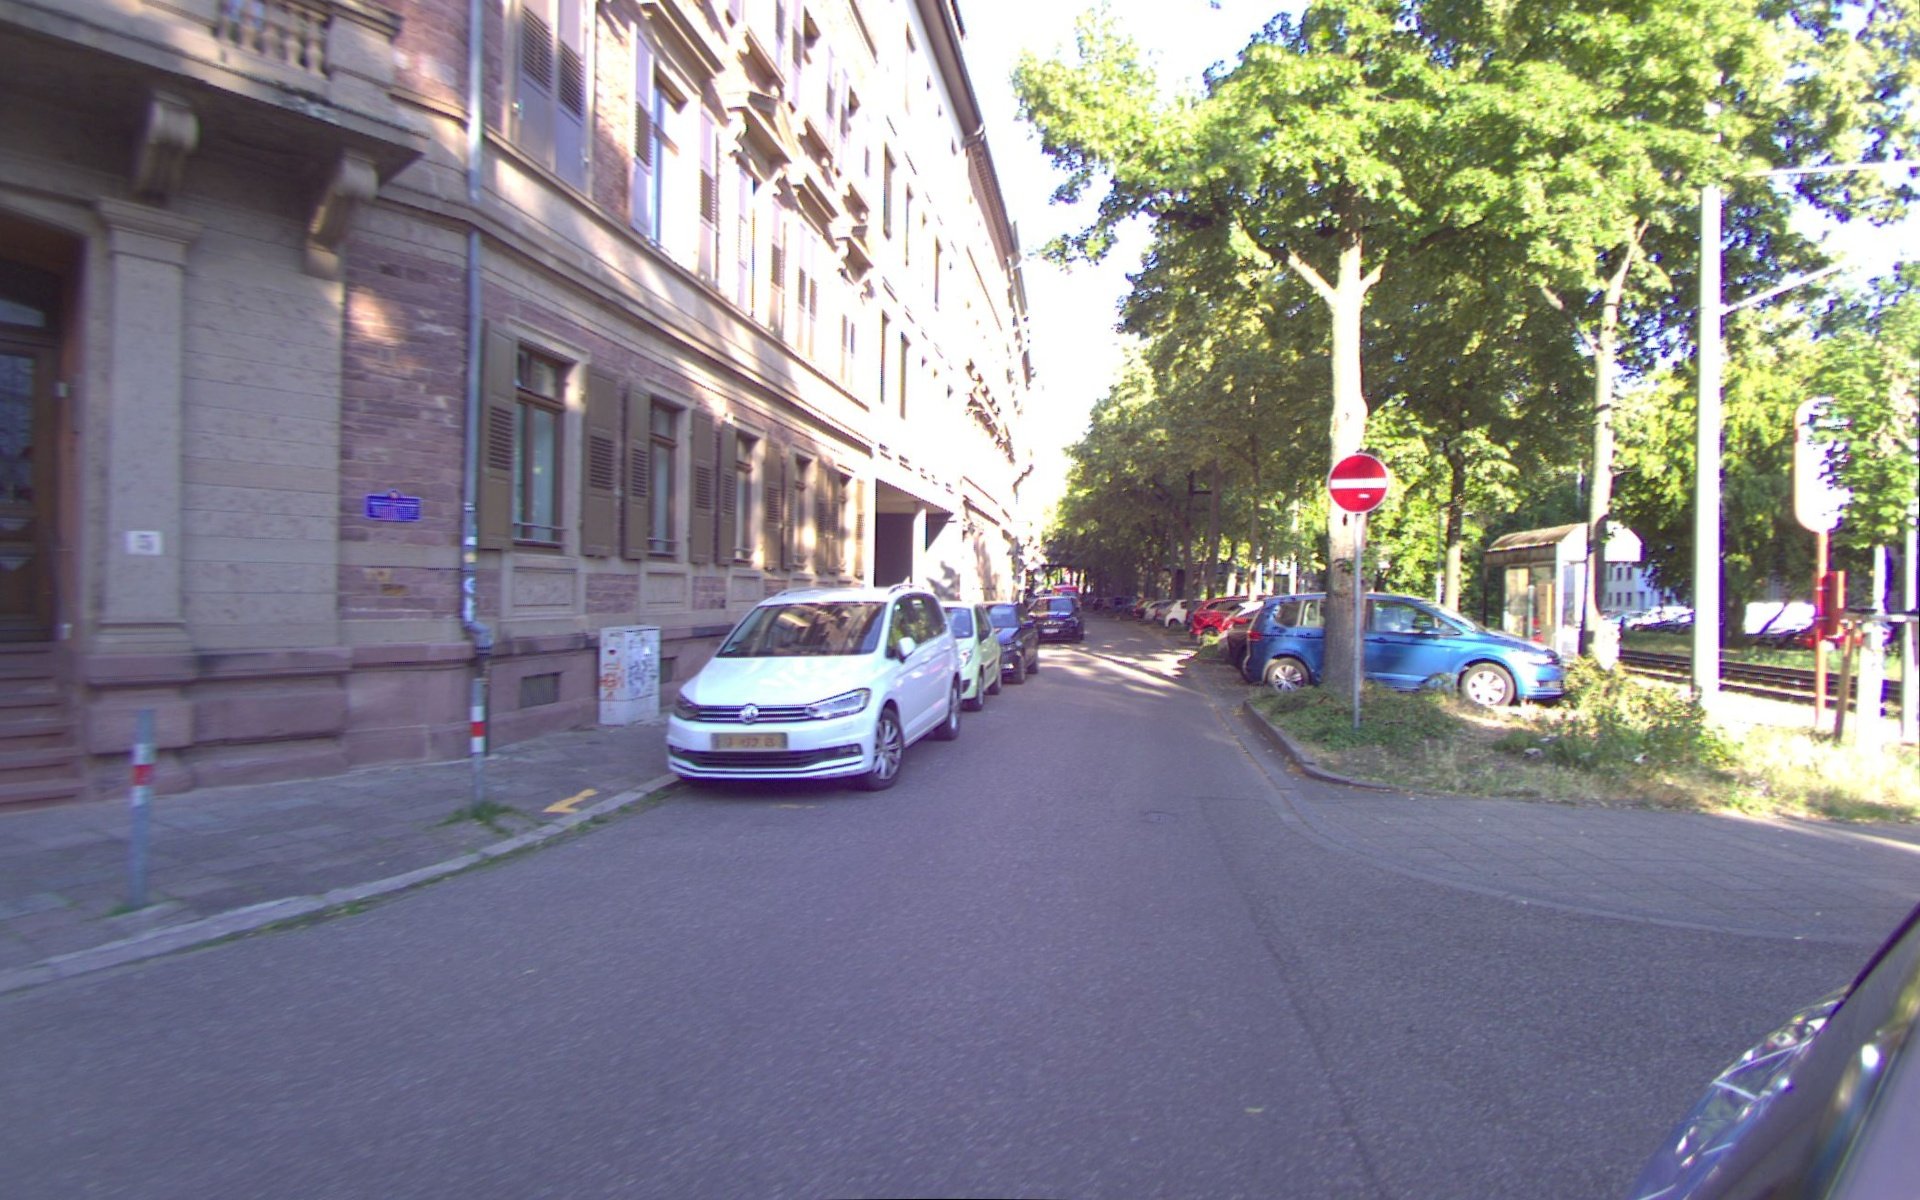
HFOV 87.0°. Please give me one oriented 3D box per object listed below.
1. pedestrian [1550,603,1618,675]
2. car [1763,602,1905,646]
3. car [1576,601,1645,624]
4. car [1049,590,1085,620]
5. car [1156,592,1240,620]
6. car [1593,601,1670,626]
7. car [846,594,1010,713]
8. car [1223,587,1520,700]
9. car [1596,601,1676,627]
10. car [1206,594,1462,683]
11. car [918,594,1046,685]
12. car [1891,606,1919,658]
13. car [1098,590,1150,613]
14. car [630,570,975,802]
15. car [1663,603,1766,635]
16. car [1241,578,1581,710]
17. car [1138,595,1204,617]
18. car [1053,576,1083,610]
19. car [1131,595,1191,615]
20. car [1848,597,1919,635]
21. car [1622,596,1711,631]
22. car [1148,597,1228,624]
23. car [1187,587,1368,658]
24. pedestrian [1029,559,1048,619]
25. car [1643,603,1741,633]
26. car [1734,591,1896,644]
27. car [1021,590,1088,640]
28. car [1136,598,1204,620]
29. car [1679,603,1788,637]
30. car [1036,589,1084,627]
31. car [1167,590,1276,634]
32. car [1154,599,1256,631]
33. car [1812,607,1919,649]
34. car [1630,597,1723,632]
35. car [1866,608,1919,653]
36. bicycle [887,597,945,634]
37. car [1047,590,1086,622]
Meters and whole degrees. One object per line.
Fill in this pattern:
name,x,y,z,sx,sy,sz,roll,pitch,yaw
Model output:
pedestrian,11.749,0.713,19.090,0.812,1.288,0.874,1,0,11
car,35.700,0.939,41.460,3.946,1.600,1.756,2,1,17
car,47.716,0.875,74.313,3.950,1.507,1.673,2,1,20
car,6.331,0.265,59.625,1.966,1.587,4.604,2,1,7
car,12.450,0.284,53.064,3.982,1.295,1.723,2,1,40
car,44.692,0.895,67.456,3.950,1.507,1.673,2,1,20
car,-0.339,0.684,14.878,1.713,1.508,3.715,-2,0,9
car,7.240,0.673,18.065,4.533,1.655,1.901,2,1,41
car,43.409,0.905,65.086,3.950,1.507,1.673,2,1,20
car,7.575,0.701,20.750,4.533,1.506,1.901,2,1,41
car,0.530,0.662,19.122,1.715,1.508,4.151,-2,0,11
car,32.899,1.074,31.973,4.660,1.592,1.986,1,1,22
car,14.014,0.112,86.509,3.961,1.789,1.732,2,1,27
car,-1.164,0.624,9.690,1.845,1.670,4.484,-2,0,11
car,39.412,0.984,52.952,3.950,1.507,1.673,2,1,20
car,6.654,0.569,15.183,4.395,1.709,1.718,0,0,38
car,14.106,0.376,67.713,3.982,1.295,1.723,2,1,40
car,7.501,-0.508,69.904,1.966,2.200,4.604,2,1,7
car,14.608,0.359,73.652,3.982,1.295,1.723,2,1,40
car,50.048,0.817,54.259,1.888,1.907,4.697,-1,0,18
car,41.623,0.776,59.711,3.950,1.855,1.673,2,1,20
car,12.559,0.557,55.901,3.982,1.295,1.723,2,1,40
car,8.853,0.572,28.521,1.895,1.743,4.547,1,1,-40
pedestrian,3.976,-0.569,51.112,0.905,2.984,0.699,1,0,7
car,40.154,0.967,55.618,3.950,1.507,1.673,2,1,20
car,36.881,0.709,43.821,4.799,2.063,2.141,2,1,20
car,3.372,0.466,35.261,1.968,1.587,4.580,2,1,10
car,13.525,0.561,65.294,3.982,1.295,1.723,2,1,40
car,38.518,0.979,50.505,3.950,1.507,1.673,2,1,20
car,4.492,0.317,45.338,1.965,1.587,4.235,2,1,6
car,11.354,0.499,44.069,4.268,1.716,1.781,2,1,44
car,11.358,0.671,47.074,4.264,1.295,1.782,2,1,41
car,35.691,1.087,39.030,3.950,1.441,1.673,2,1,20
car,40.780,0.796,57.713,3.950,1.855,1.673,2,1,20
car,33.724,1.084,34.402,3.950,1.479,1.673,2,1,20
bicycle,-1.382,0.481,32.431,0.679,1.130,2.068,1,1,37
car,5.678,0.285,54.120,1.965,1.587,4.411,2,1,6
